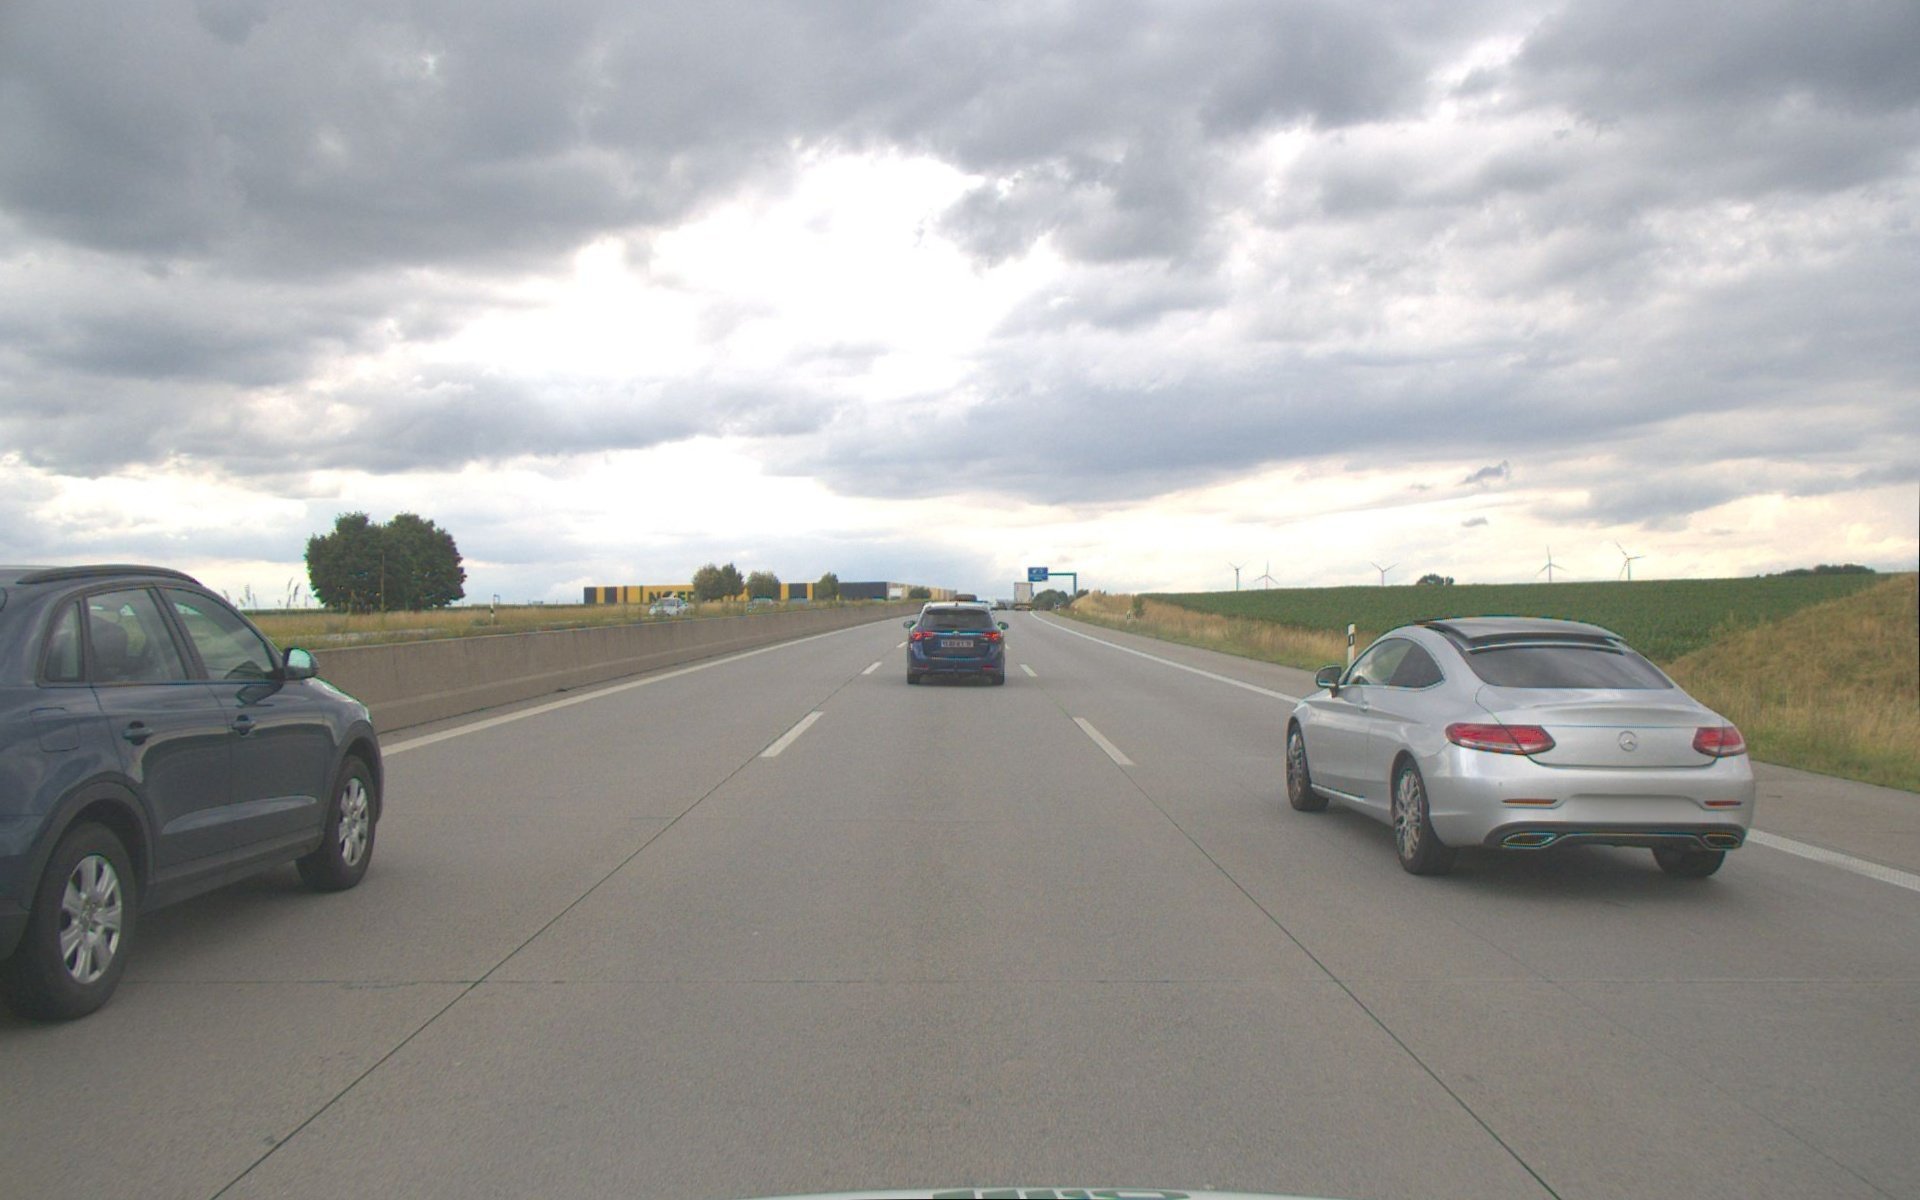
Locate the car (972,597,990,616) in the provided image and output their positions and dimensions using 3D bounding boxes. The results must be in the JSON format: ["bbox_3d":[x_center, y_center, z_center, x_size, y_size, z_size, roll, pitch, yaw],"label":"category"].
[{"bbox_3d":[2.315,0.731,182.154,1.953,2.049,4.000,2,0,0],"label":"car"}]

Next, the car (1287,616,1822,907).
[{"bbox_3d":[3.387,0.827,10.353,1.752,1.428,4.220,1,0,-1],"label":"car"}]

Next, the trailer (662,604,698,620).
[{"bbox_3d":[-18.675,0.815,110.491,1.750,1.000,3.563,1,-1,0],"label":"trailer"}]

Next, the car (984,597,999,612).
[{"bbox_3d":[4.427,0.605,232.160,1.953,2.049,3.999,1,-1,-1],"label":"car"}]

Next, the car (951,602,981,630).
[{"bbox_3d":[0.435,1.181,121.570,1.954,2.049,3.997,1,-1,-3],"label":"car"}]

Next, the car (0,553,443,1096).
[{"bbox_3d":[-3.855,0.654,7.264,1.757,1.624,5.154,1,0,-3],"label":"car"}]

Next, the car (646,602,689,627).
[{"bbox_3d":[-18.771,0.956,106.270,1.858,1.496,4.849,1,-1,0],"label":"car"}]

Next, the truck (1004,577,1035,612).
[{"bbox_3d":[8.736,-0.774,244.642,3.870,4.839,12.071,1,-1,-1],"label":"truck"}]

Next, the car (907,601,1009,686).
[{"bbox_3d":[-0.087,0.757,30.393,1.739,1.438,3.999,1,0,-1],"label":"car"}]
